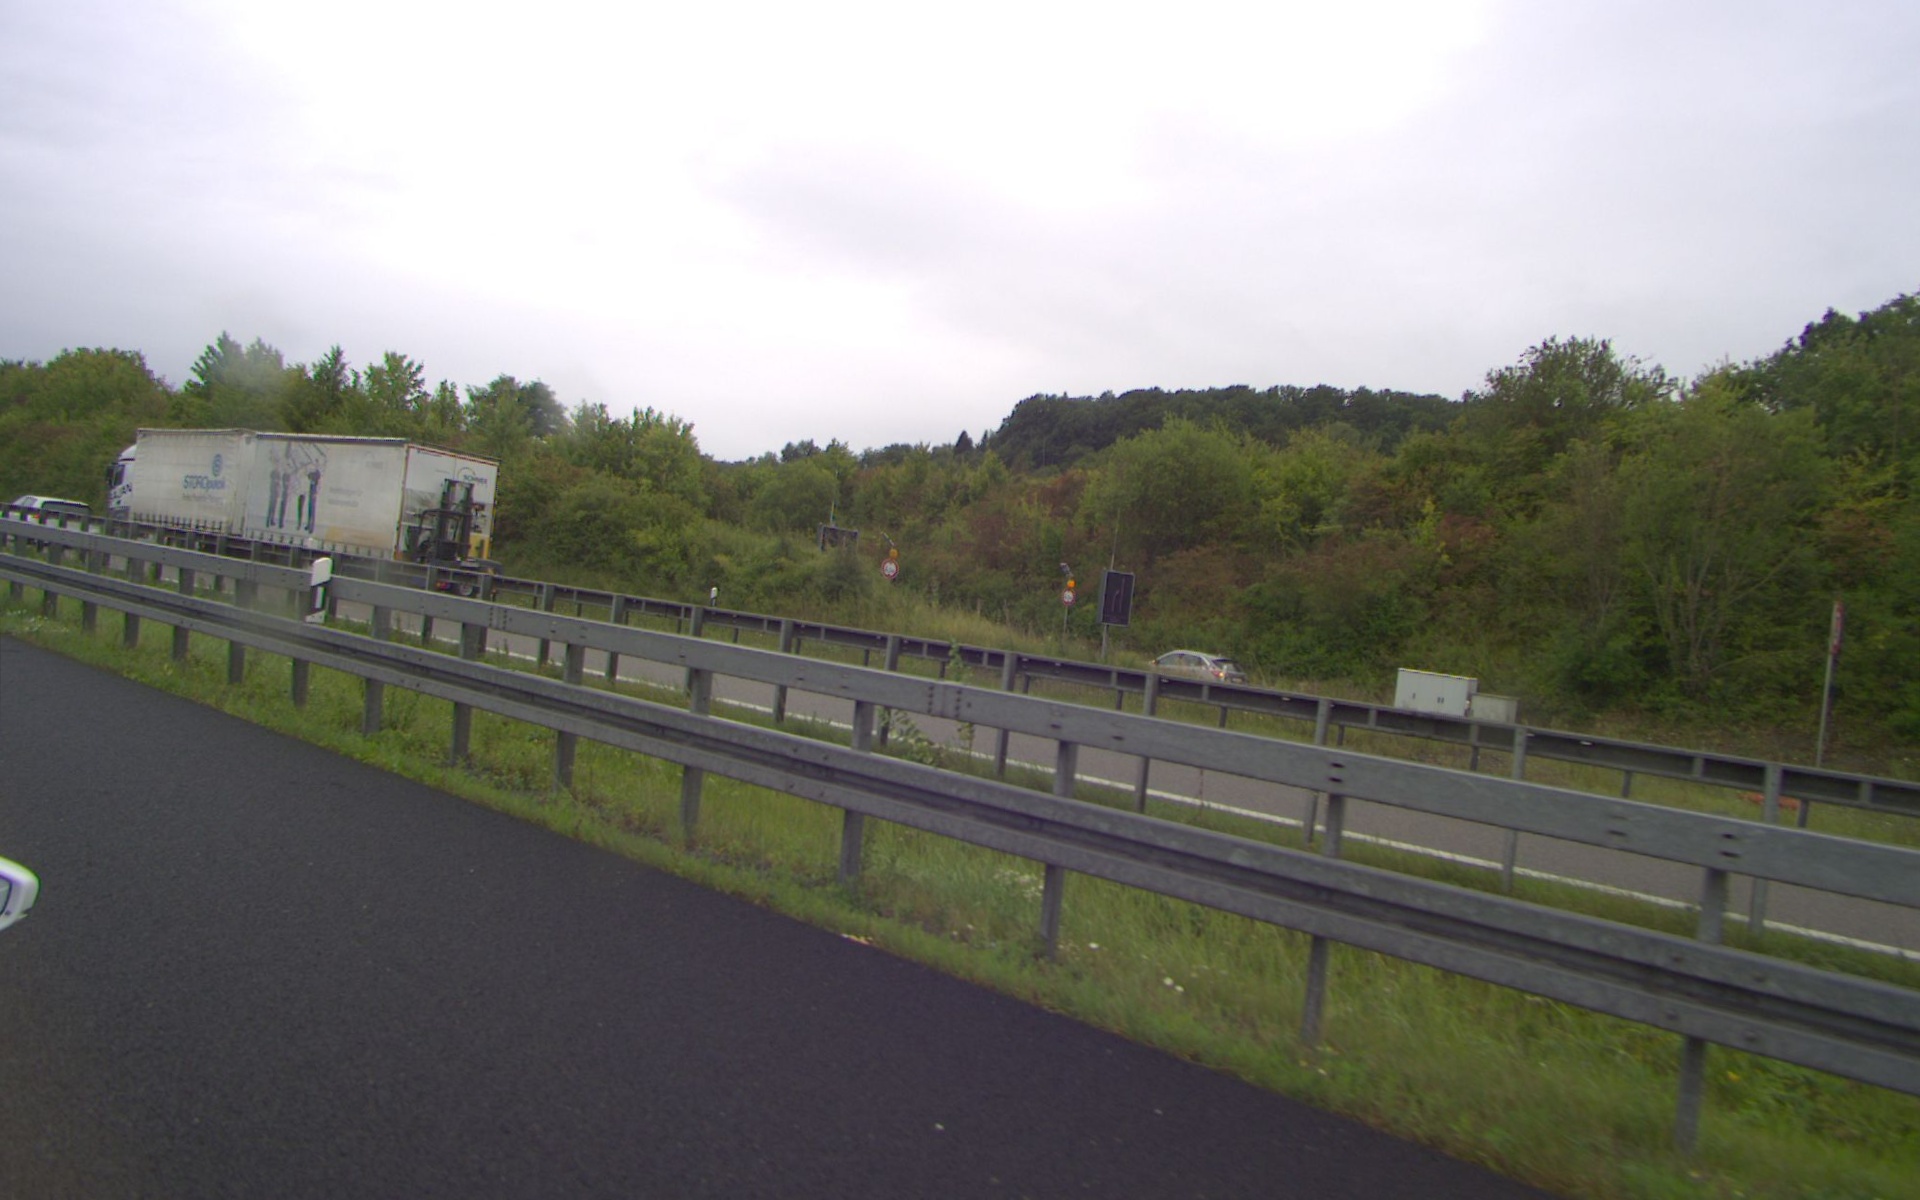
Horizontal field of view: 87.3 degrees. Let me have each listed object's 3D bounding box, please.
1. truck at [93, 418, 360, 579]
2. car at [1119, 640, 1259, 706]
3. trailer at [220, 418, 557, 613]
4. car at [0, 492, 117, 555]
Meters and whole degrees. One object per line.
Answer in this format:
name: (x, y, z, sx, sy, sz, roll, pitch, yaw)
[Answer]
truck: (-24.618, -3.495, 33.526, 10.248, 4.341, 3.441, 7, 0, 33)
car: (7.826, 2.478, 34.754, 1.851, 1.633, 4.453, 8, -1, -37)
trailer: (-16.064, -2.470, 27.877, 10.283, 4.341, 3.441, 7, 0, 33)
car: (-27.605, -2.347, 30.556, 4.090, 1.465, 1.862, 7, -1, 33)
